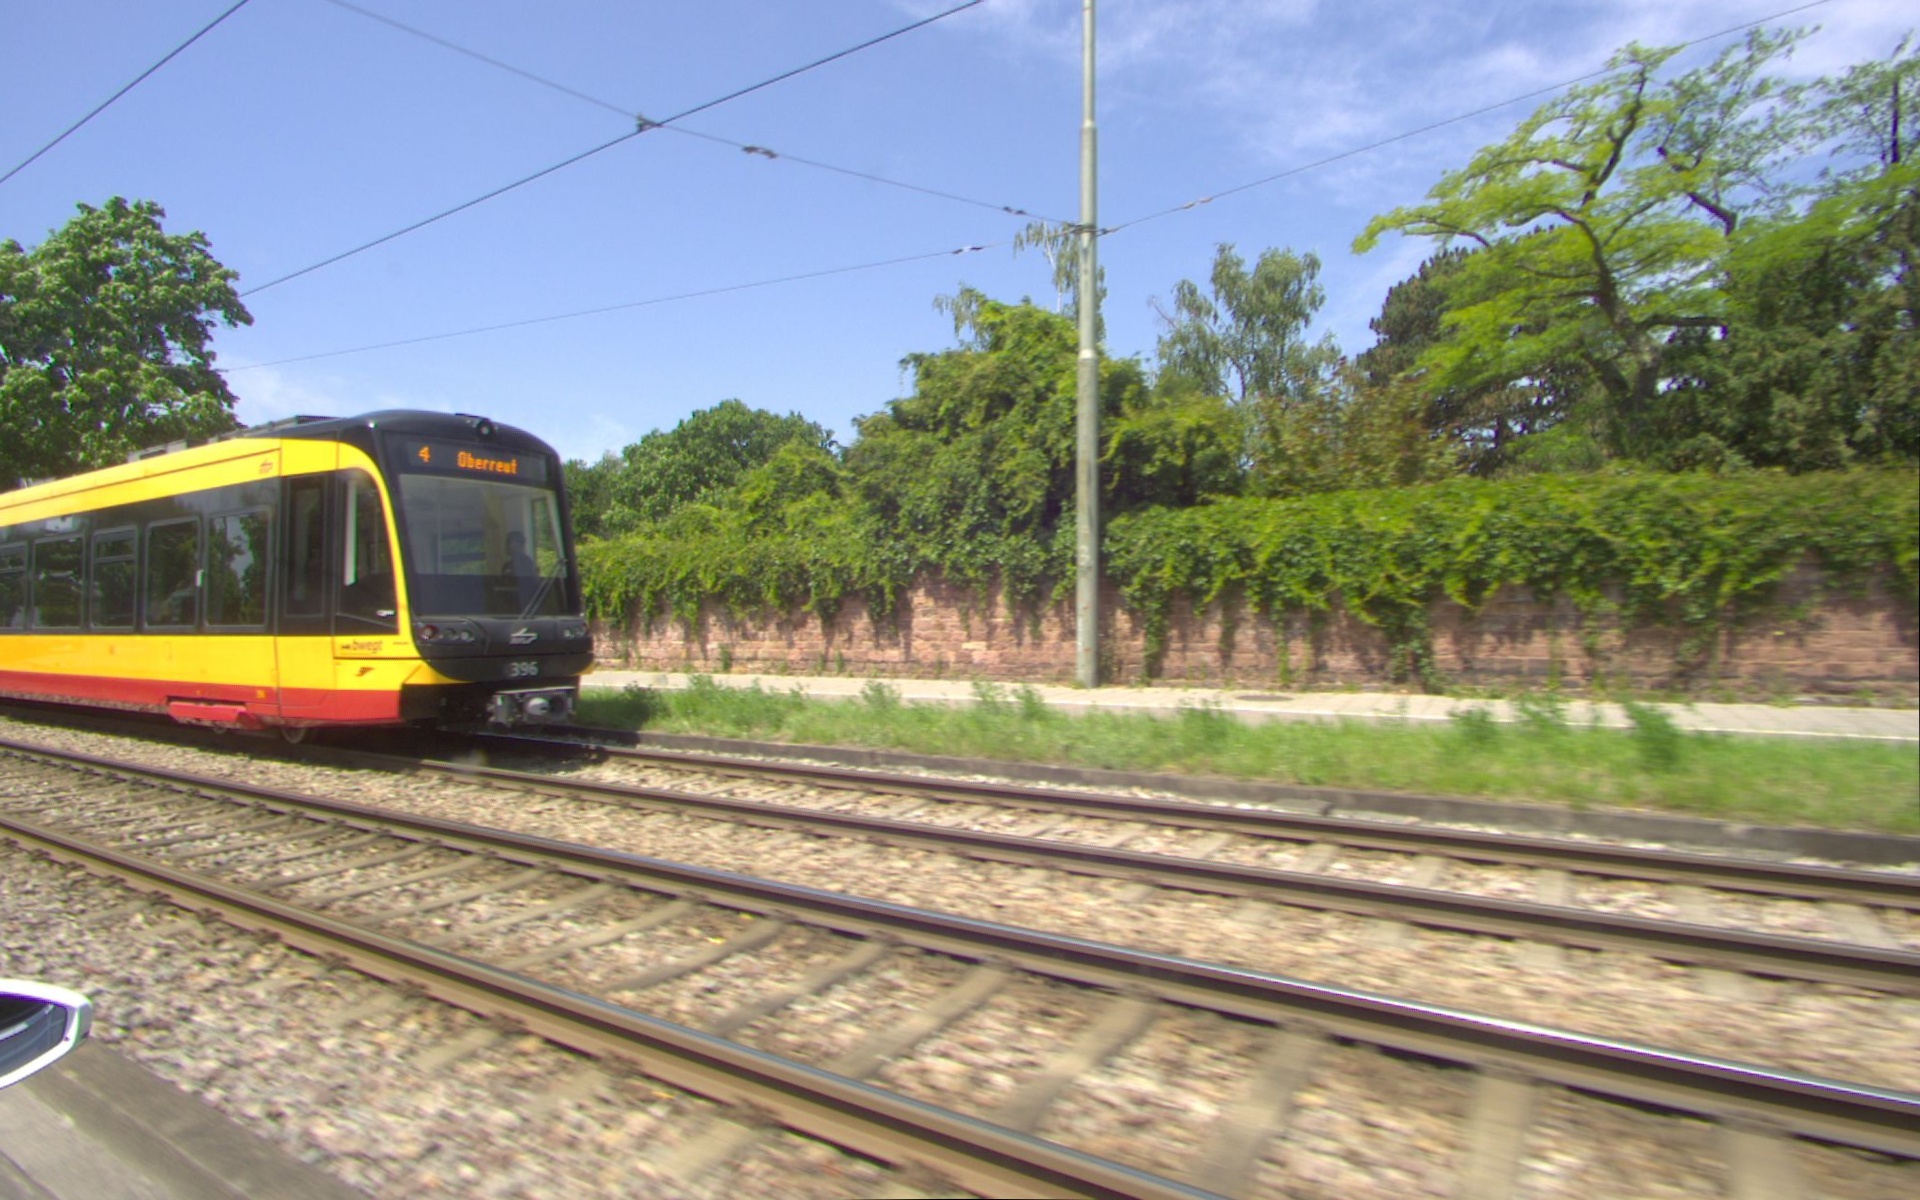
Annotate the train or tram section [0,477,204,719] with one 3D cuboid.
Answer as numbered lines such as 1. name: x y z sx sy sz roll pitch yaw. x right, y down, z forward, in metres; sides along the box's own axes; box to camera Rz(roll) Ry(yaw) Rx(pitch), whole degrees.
1. train or tram section: -20.008 0.053 20.491 12.905 3.848 3.021 -1 0 33

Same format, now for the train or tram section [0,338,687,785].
1. train or tram section: -9.273 -0.241 13.440 12.905 3.848 3.021 -1 0 33
